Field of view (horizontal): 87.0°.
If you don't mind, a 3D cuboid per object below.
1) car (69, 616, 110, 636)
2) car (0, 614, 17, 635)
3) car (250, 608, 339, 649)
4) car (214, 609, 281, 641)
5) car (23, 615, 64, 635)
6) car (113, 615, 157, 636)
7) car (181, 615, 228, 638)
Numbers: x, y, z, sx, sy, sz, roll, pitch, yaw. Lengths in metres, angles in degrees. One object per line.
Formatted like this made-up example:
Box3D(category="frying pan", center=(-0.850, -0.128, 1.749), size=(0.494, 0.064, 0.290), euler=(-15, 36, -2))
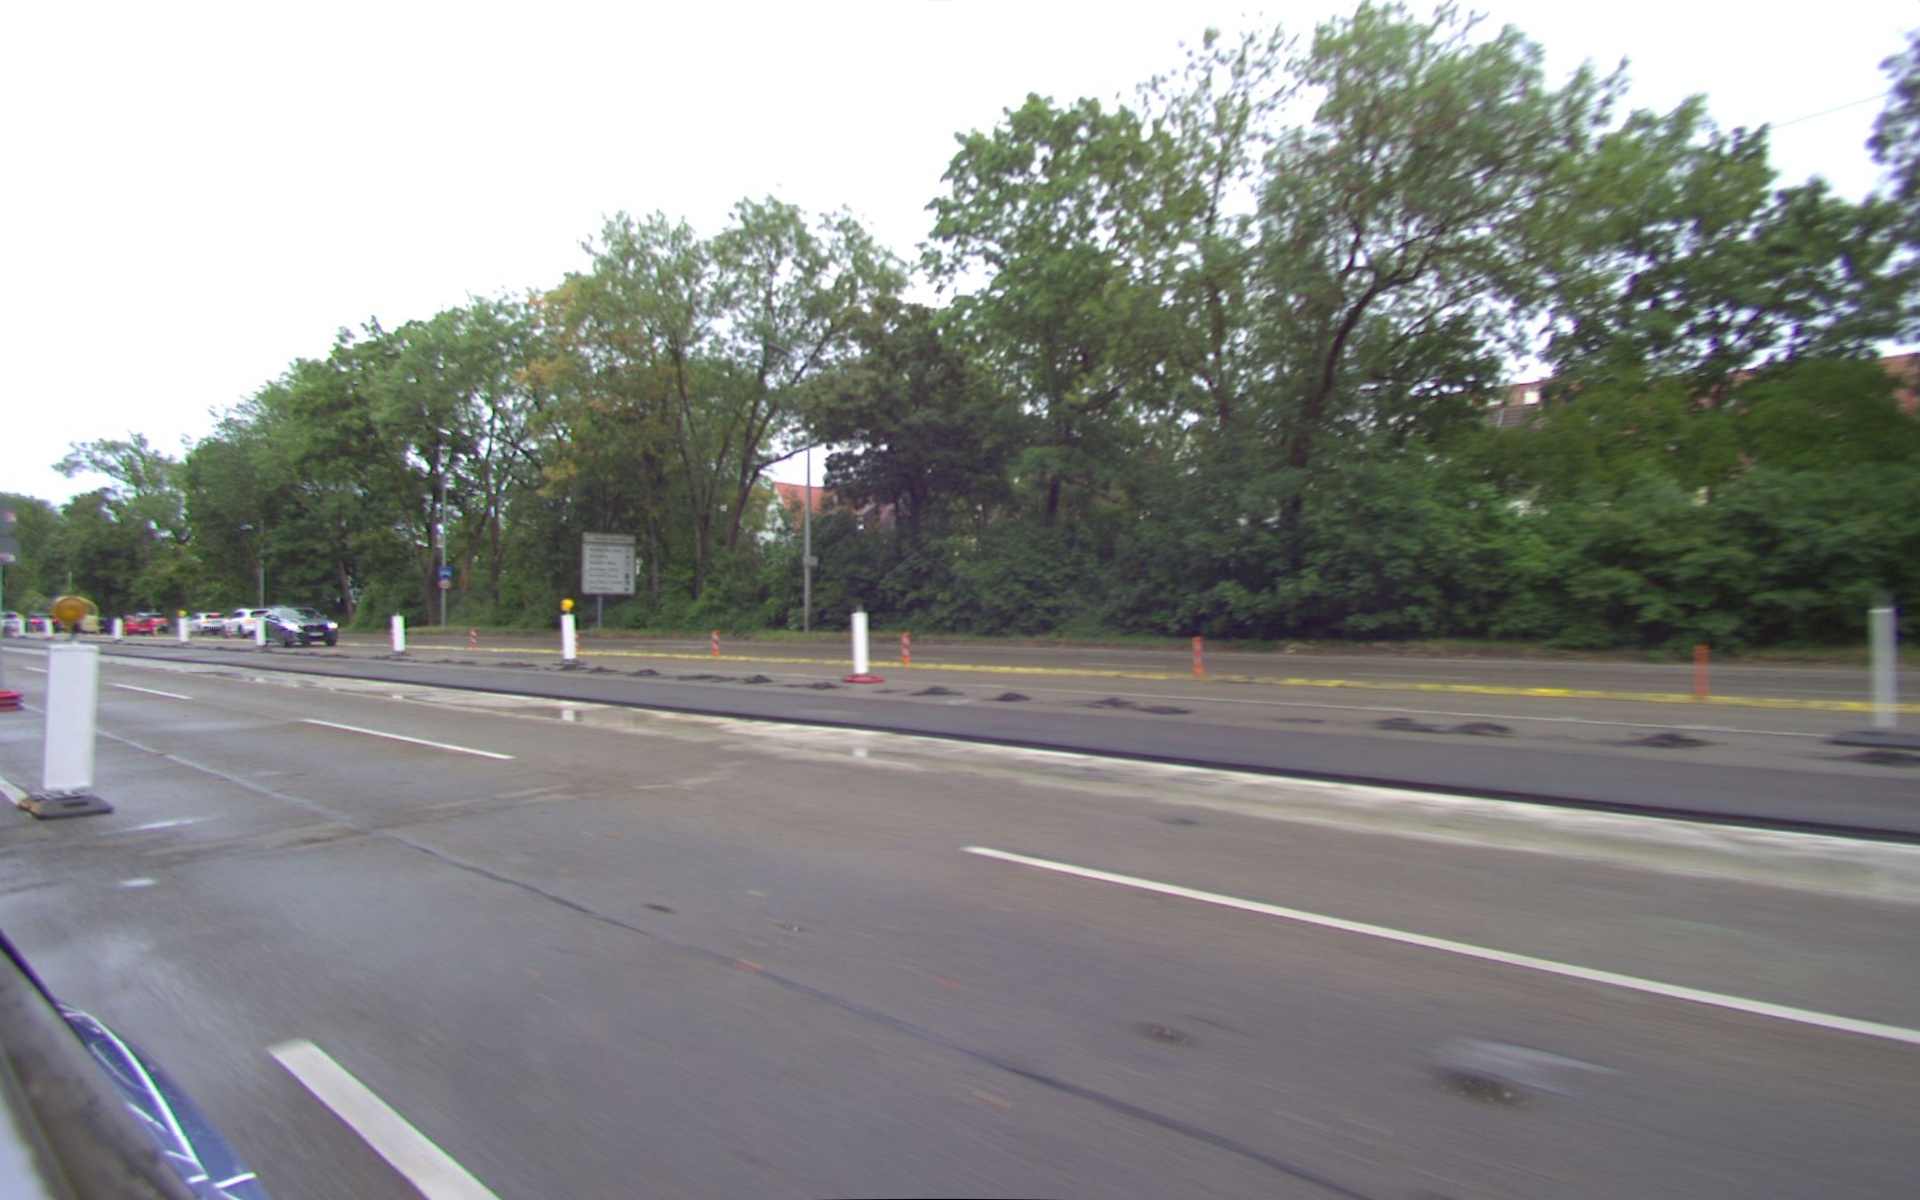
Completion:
Box3D(category="car", center=(-68.484, 2.024, 79.578), size=(4.192, 1.499, 1.759), euler=(-1, 0, 39))
Box3D(category="car", center=(-95.432, 2.453, 100.305), size=(4.894, 1.987, 1.975), euler=(-1, 0, 37))
Box3D(category="car", center=(-28.516, 1.177, 43.314), size=(4.809, 1.641, 1.973), euler=(-1, 0, 41))
Box3D(category="car", center=(-40.210, 1.387, 57.071), size=(4.888, 1.674, 1.871), euler=(-1, 0, 39))
Box3D(category="car", center=(-81.628, 2.233, 90.125), size=(5.008, 1.738, 2.001), euler=(-1, 0, 40))
Box3D(category="car", center=(-58.144, 1.806, 71.306), size=(4.009, 1.411, 1.662), euler=(-1, 0, 40))
Box3D(category="car", center=(-52.647, 1.848, 70.506), size=(4.145, 1.508, 1.662), euler=(-1, -2, 40))
